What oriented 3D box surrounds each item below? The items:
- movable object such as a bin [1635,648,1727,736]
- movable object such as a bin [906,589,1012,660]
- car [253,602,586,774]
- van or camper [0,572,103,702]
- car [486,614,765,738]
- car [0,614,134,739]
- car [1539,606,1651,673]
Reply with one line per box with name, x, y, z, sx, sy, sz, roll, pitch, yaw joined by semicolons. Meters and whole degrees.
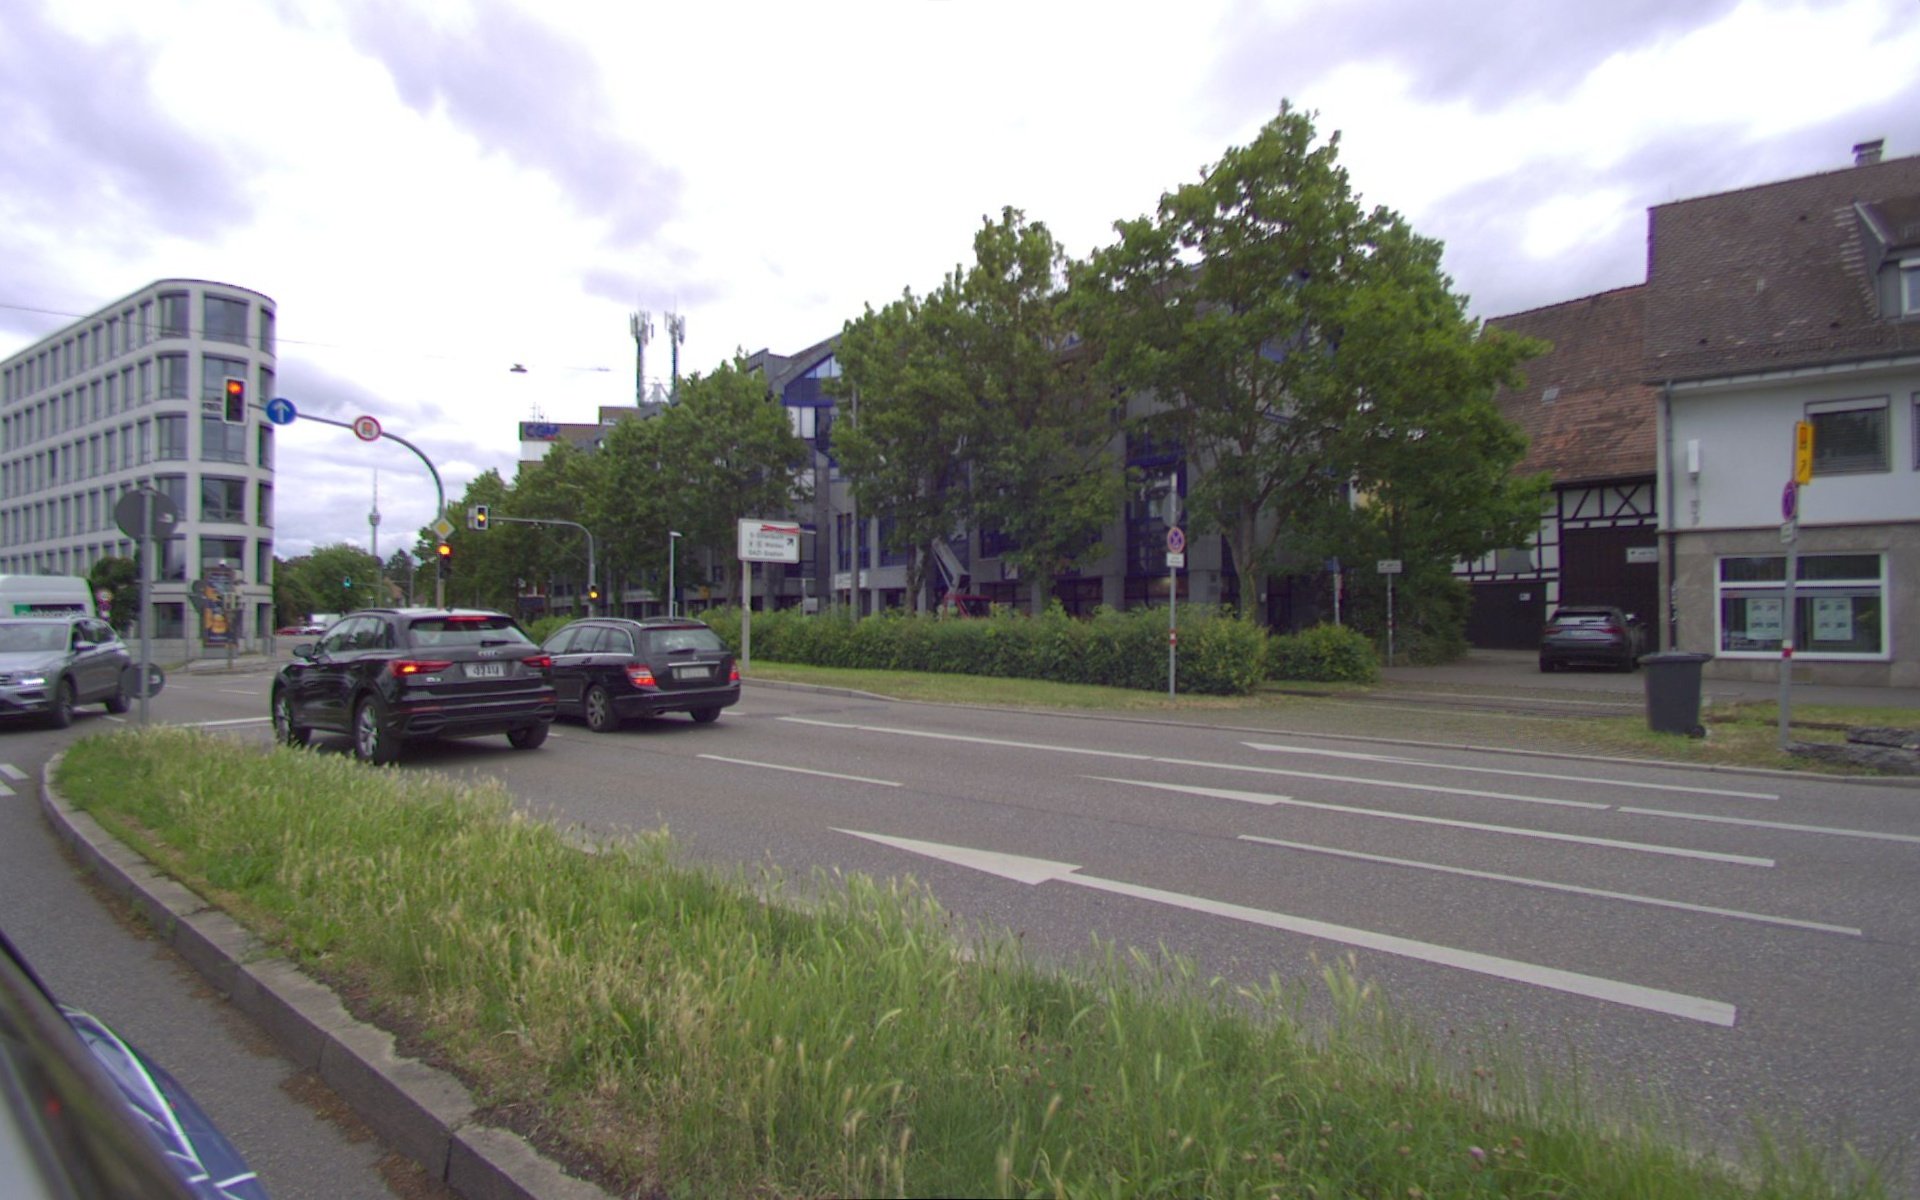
movable object such as a bin;8.903;1.114;12.498;0.838;1.020;0.557;-2;-2;43
movable object such as a bin;-0.095;0.927;38.238;1.880;2.551;4.135;1;-2;-38
car;-6.267;0.901;11.510;4.393;1.576;1.869;-3;-2;41
van or camper;-21.303;0.811;21.555;2.076;2.710;6.316;-1;-1;-14
car;-4.789;0.997;14.126;4.395;1.436;1.764;-3;-2;43
car;-14.176;1.087;15.216;1.803;1.658;4.340;-1;-1;-27
car;15.376;0.915;24.427;1.856;1.436;3.951;-3;-2;38
